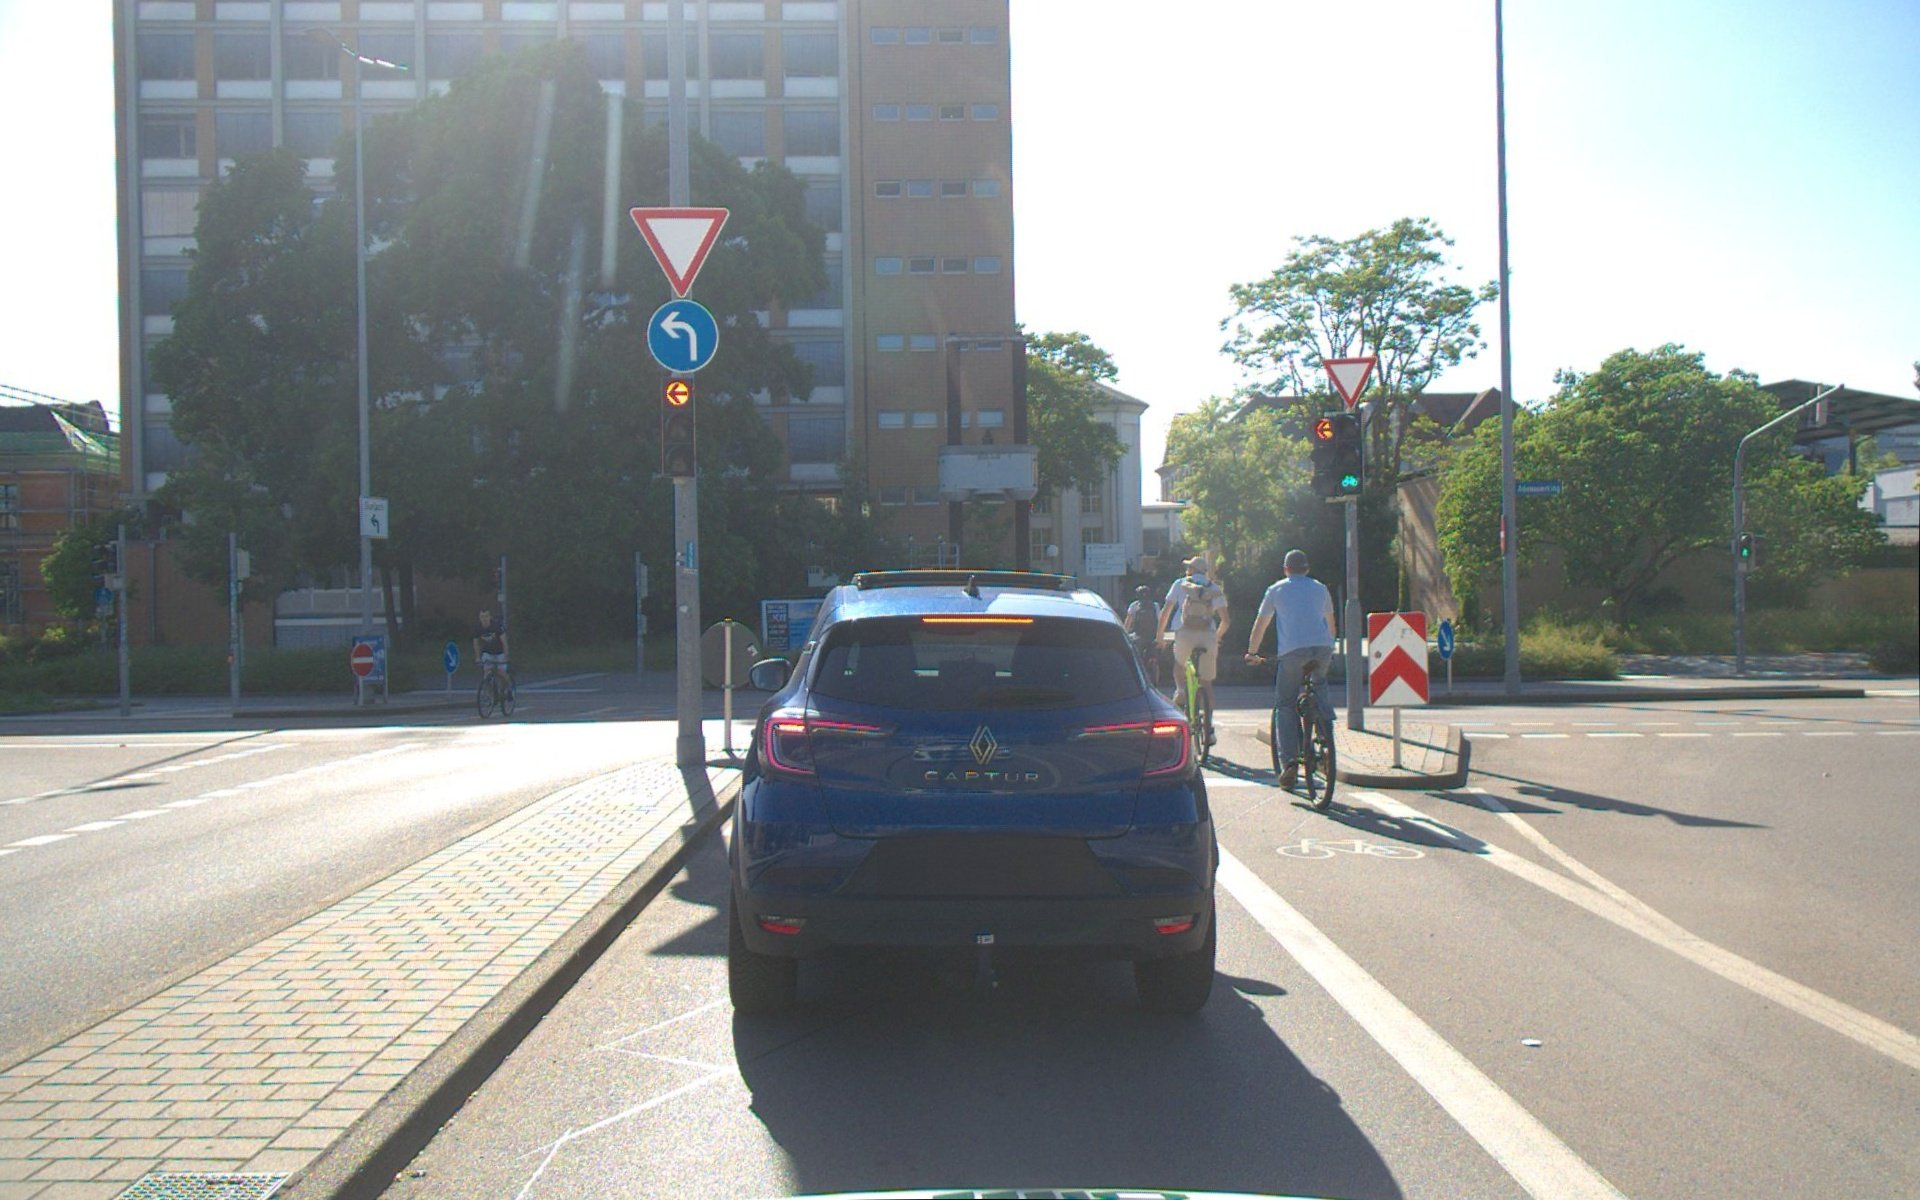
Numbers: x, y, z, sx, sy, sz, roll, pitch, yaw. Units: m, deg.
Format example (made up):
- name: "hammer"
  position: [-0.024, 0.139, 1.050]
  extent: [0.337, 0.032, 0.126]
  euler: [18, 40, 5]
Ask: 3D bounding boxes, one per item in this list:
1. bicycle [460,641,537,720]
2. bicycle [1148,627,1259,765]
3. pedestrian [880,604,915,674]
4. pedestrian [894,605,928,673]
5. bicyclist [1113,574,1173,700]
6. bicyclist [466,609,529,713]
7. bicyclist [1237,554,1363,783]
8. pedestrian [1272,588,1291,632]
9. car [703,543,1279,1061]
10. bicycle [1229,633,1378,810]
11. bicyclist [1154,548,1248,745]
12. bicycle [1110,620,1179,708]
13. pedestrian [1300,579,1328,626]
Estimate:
- name: "bicycle"
  position: [-7.619, 1.305, 27.386]
  extent: [0.731, 1.185, 1.870]
  euler: [-2, 0, -1]
- name: "bicycle"
  position: [2.278, 0.873, 15.703]
  extent: [0.731, 1.185, 1.870]
  euler: [-1, 0, -1]
- name: "pedestrian"
  position: [-1.666, 1.033, 44.387]
  extent: [0.718, 1.848, 0.732]
  euler: [1, -1, 16]
- name: "pedestrian"
  position: [-1.329, 1.061, 45.165]
  extent: [0.718, 1.813, 0.732]
  euler: [1, -1, 16]
- name: "bicyclist"
  position: [2.625, 0.519, 23.802]
  extent: [0.705, 1.765, 0.977]
  euler: [-1, 0, -1]
- name: "bicyclist"
  position: [-7.626, 0.996, 27.302]
  extent: [0.705, 1.649, 0.977]
  euler: [-2, 0, -1]
- name: "bicyclist"
  position: [2.543, 0.495, 12.465]
  extent: [0.705, 1.645, 0.977]
  euler: [-1, 0, -1]
- name: "pedestrian"
  position: [12.312, 0.369, 63.331]
  extent: [0.661, 1.672, 0.736]
  euler: [1, -1, 15]
- name: "car"
  position: [0.078, 0.660, 7.264]
  extent: [1.838, 1.646, 3.797]
  euler: [1, 0, -1]
- name: "bicycle"
  position: [2.551, 0.865, 12.469]
  extent: [0.701, 1.185, 1.870]
  euler: [-1, 0, 0]
- name: "bicyclist"
  position: [2.267, 0.426, 15.668]
  extent: [0.705, 1.793, 0.977]
  euler: [-1, 0, -1]
- name: "bicycle"
  position: [2.635, 0.898, 23.814]
  extent: [0.731, 1.185, 1.870]
  euler: [-1, 0, -1]
- name: "pedestrian"
  position: [12.670, 0.096, 59.237]
  extent: [0.730, 1.672, 0.667]
  euler: [1, -1, -44]
